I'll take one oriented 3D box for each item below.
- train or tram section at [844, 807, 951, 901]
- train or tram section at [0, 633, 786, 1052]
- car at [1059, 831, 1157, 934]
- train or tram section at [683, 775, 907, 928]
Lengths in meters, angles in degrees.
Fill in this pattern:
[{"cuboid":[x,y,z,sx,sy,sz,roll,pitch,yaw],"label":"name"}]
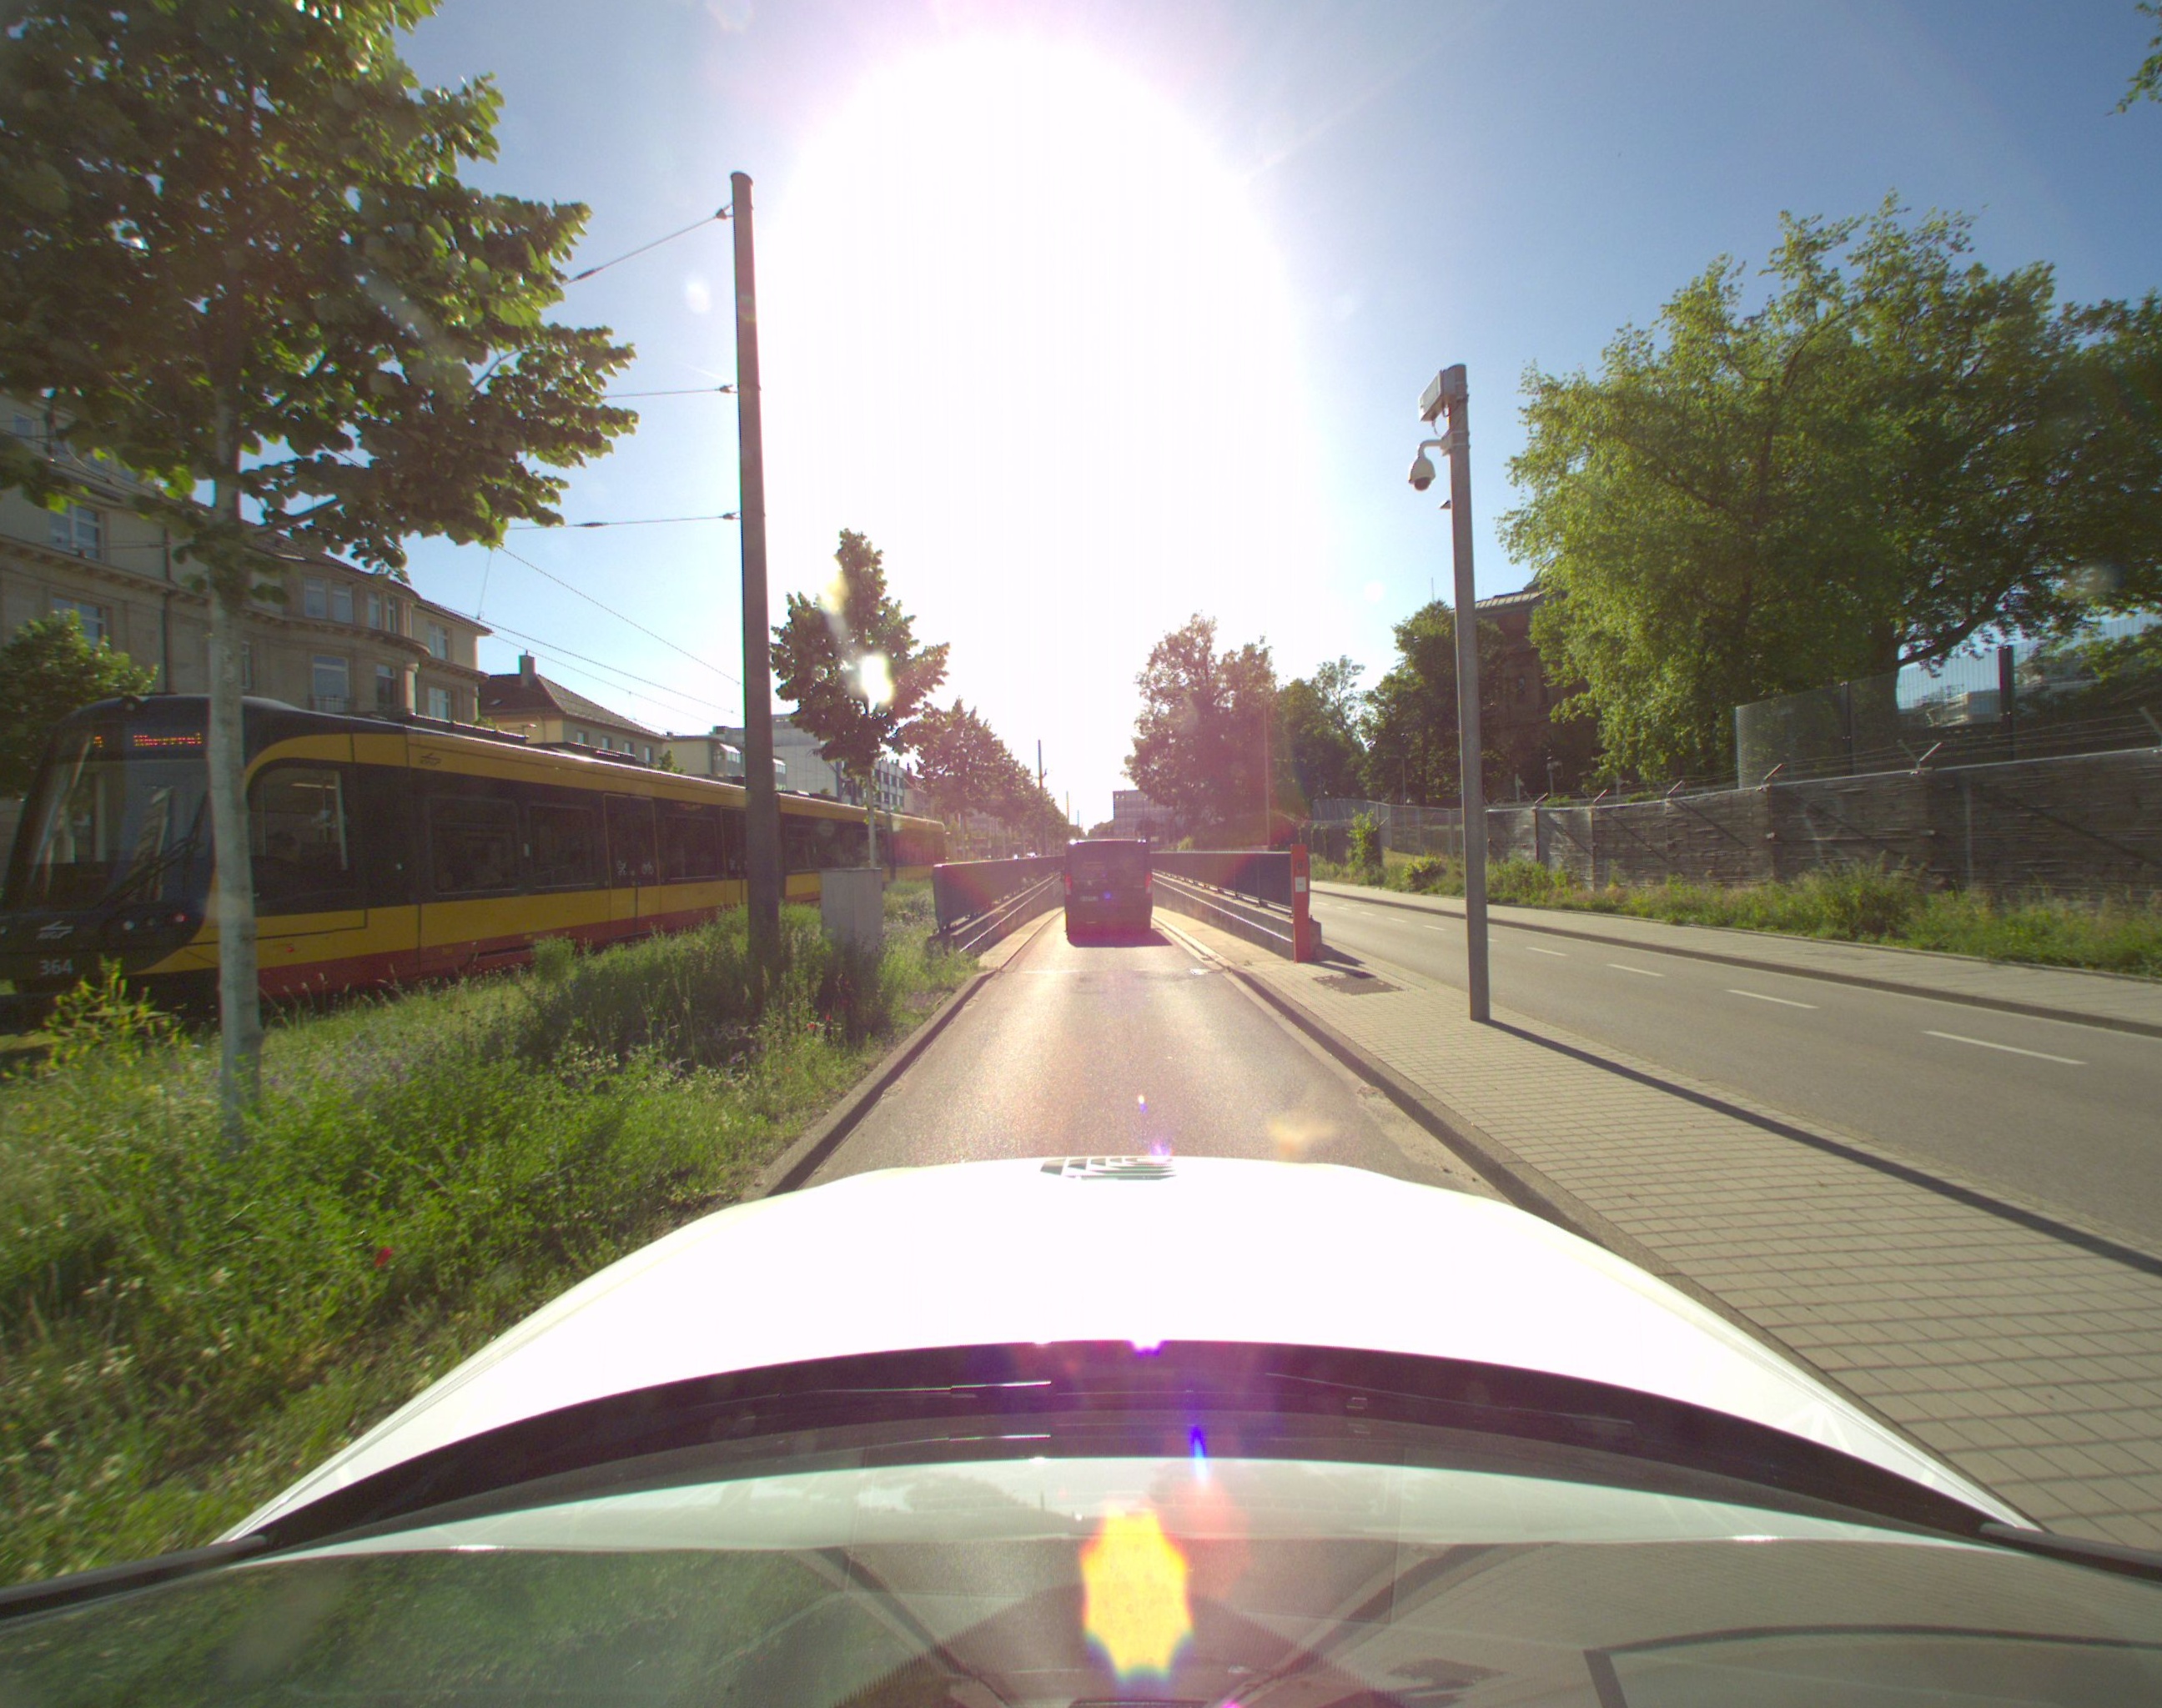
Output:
[{"cuboid":[-8.364,0.040,38.506,2.603,3.854,9.972,0,-1,1],"label":"train or tram section"},{"cuboid":[-8.894,-0.049,13.796,2.601,3.656,13.345,0,0,2],"label":"train or tram section"},{"cuboid":[0.683,0.714,20.697,2.150,2.266,4.638,-1,-2,2],"label":"car"},{"cuboid":[-8.577,-0.013,26.997,2.601,3.821,13.092,0,0,1],"label":"train or tram section"}]
